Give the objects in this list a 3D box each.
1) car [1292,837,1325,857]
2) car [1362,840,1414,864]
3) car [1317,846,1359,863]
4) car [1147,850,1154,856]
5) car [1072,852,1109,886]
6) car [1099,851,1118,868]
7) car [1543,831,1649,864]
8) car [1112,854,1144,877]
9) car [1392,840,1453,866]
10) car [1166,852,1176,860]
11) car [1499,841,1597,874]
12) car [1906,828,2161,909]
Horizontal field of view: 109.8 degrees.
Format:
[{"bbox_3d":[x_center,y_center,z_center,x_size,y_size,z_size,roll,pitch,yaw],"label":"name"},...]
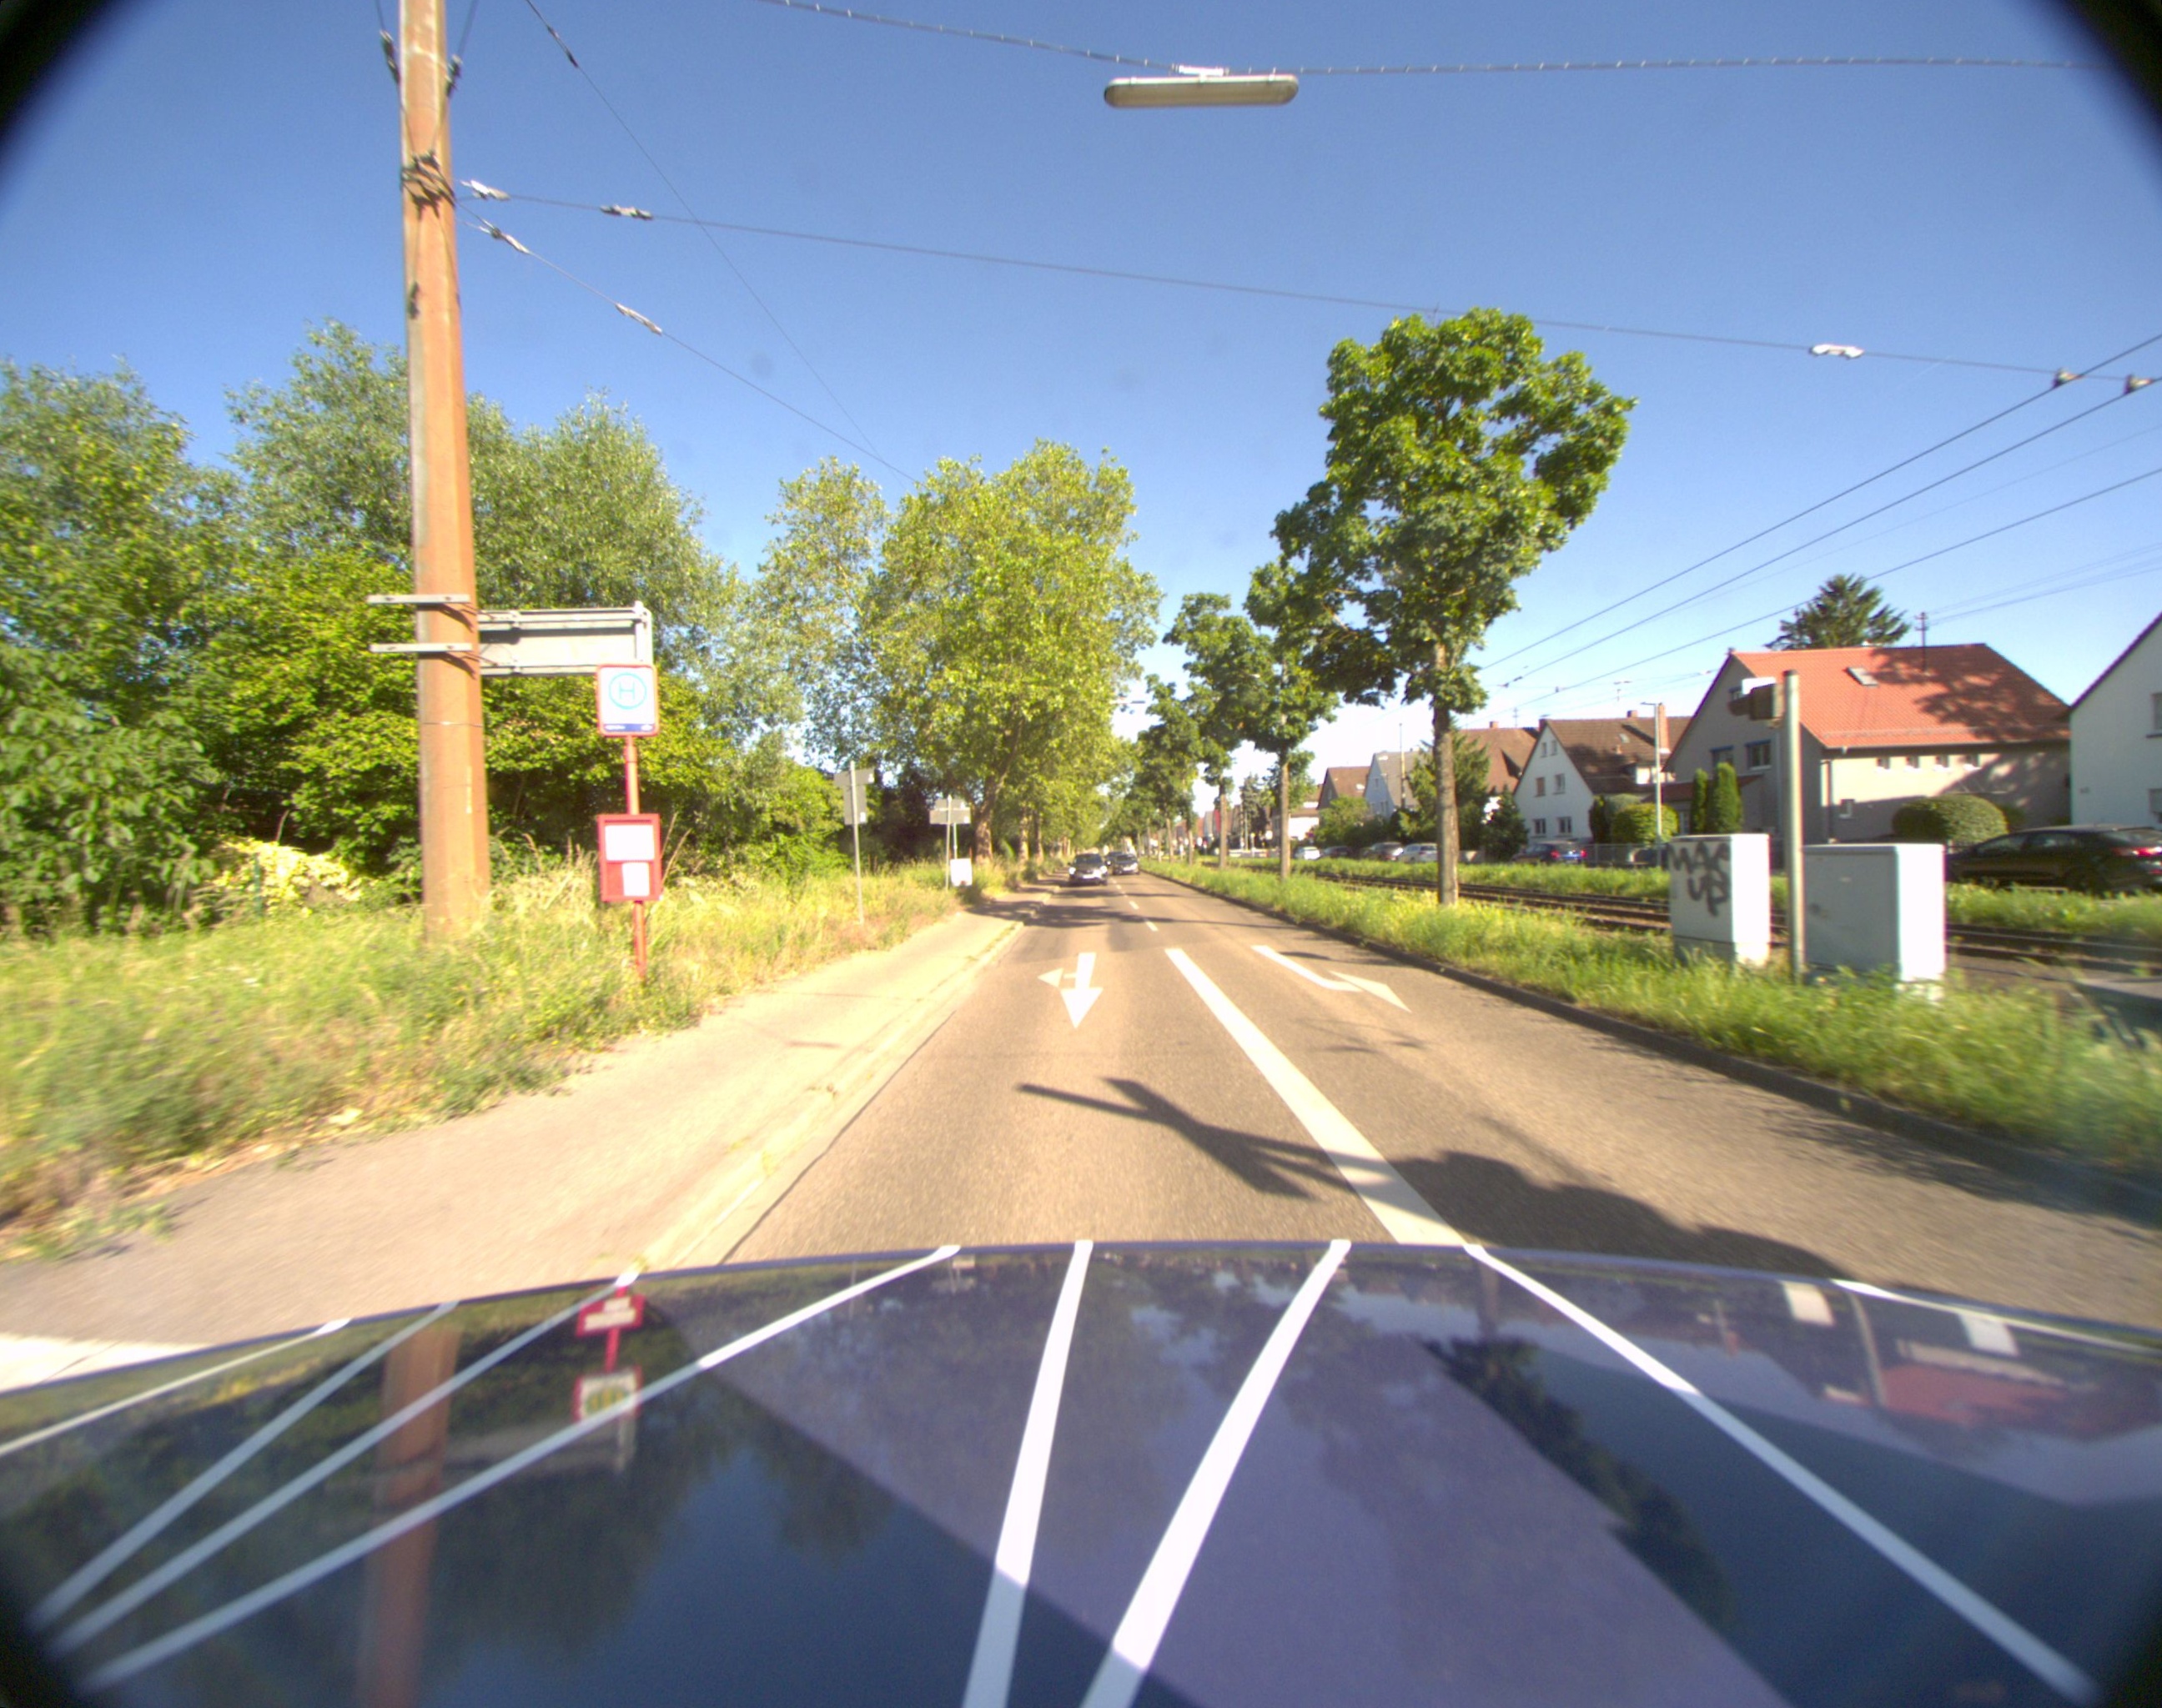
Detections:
[{"bbox_3d":[22.531,-0.662,75.372,1.998,1.852,4.584,-2,0,1],"label":"car"},{"bbox_3d":[22.069,-0.179,54.830,1.888,1.552,4.536,-3,0,1],"label":"car"},{"bbox_3d":[22.401,0.000,66.493,1.998,1.333,4.981,-3,1,1],"label":"car"},{"bbox_3d":[20.503,-0.326,223.639,1.731,1.581,4.000,-2,0,0],"label":"car"},{"bbox_3d":[0.433,0.679,36.894,1.673,1.529,3.586,-2,0,0],"label":"car"},{"bbox_3d":[2.708,0.506,75.146,1.779,1.620,4.288,-1,0,1],"label":"car"},{"bbox_3d":[27.860,-0.349,41.182,4.488,1.462,1.747,-4,1,-1],"label":"car"},{"bbox_3d":[3.125,0.724,51.399,1.780,1.441,4.333,-2,0,-1],"label":"car"},{"bbox_3d":[22.282,-0.080,49.774,1.888,1.464,4.838,-3,0,2],"label":"car"},{"bbox_3d":[19.476,0.374,164.817,1.785,1.674,4.000,-2,0,2],"label":"car"},{"bbox_3d":[21.704,0.140,35.531,1.998,1.363,4.310,-2,0,2],"label":"car"},{"bbox_3d":[21.528,0.229,16.724,1.912,1.457,4.440,-3,1,1],"label":"car"}]
